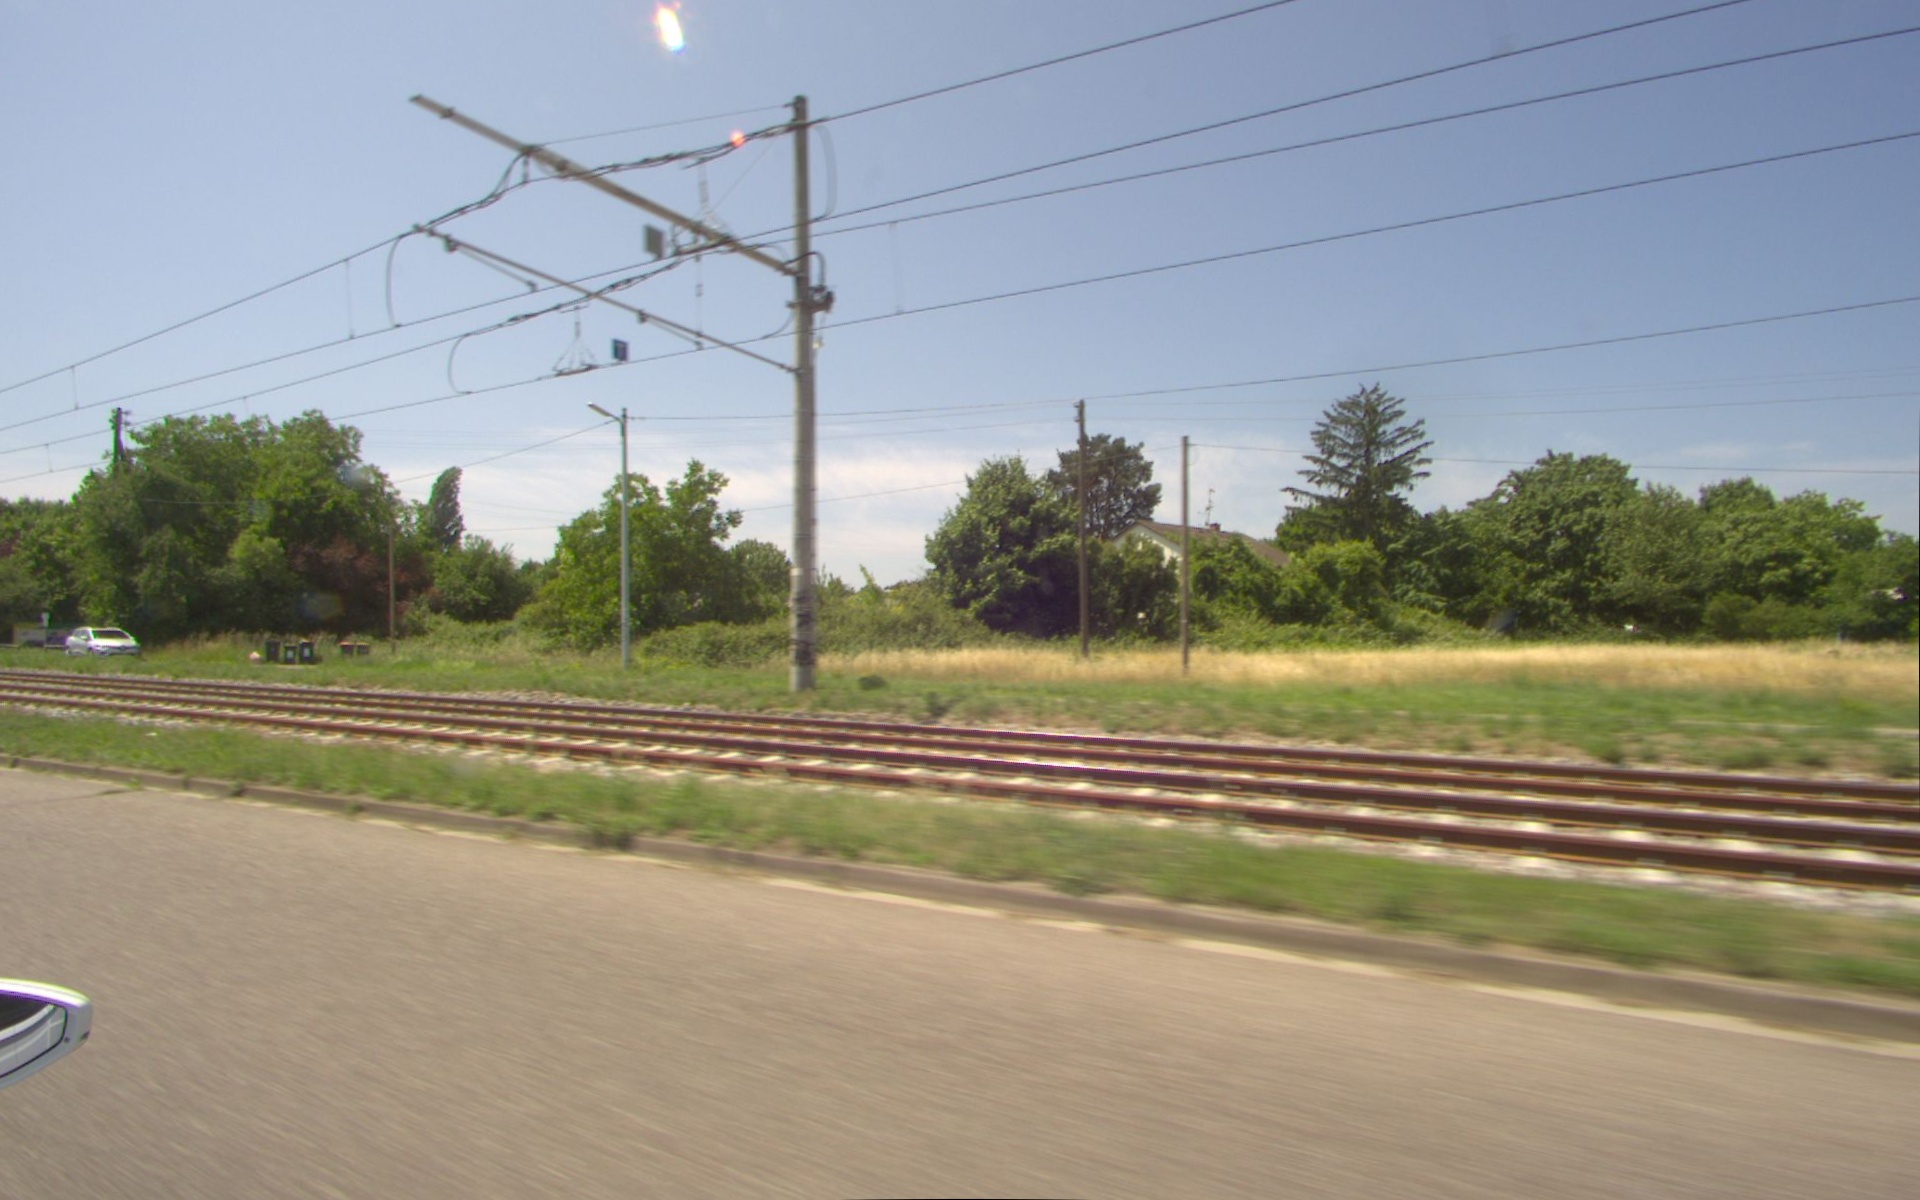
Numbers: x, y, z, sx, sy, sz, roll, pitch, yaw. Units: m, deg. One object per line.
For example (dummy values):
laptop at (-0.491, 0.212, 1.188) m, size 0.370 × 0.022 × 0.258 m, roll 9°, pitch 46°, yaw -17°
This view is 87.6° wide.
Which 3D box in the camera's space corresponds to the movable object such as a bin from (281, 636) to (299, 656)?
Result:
movable object such as a bin at (-29.090, 1.989, 43.480) m, size 0.494 × 0.875 × 0.522 m, roll 0°, pitch -1°, yaw 43°

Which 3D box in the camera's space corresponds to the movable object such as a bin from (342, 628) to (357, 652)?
movable object such as a bin at (-27.379, 1.808, 44.902) m, size 0.494 × 1.064 × 0.446 m, roll 0°, pitch -1°, yaw 43°

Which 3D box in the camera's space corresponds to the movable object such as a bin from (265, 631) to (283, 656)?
movable object such as a bin at (-29.493, 1.852, 43.067) m, size 0.494 × 1.064 × 0.522 m, roll 0°, pitch -1°, yaw 43°

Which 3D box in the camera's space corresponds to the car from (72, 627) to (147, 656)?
car at (-37.083, 1.806, 43.633) m, size 3.033 × 1.194 × 1.561 m, roll 0°, pitch -2°, yaw 30°

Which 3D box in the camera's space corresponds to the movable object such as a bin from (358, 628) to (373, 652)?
movable object such as a bin at (-26.913, 1.825, 45.329) m, size 0.494 × 1.064 × 0.446 m, roll 0°, pitch -1°, yaw 43°

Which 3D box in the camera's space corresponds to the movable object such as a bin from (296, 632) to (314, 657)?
movable object such as a bin at (-28.690, 1.935, 43.858) m, size 0.494 × 1.064 × 0.522 m, roll 0°, pitch -1°, yaw 43°
